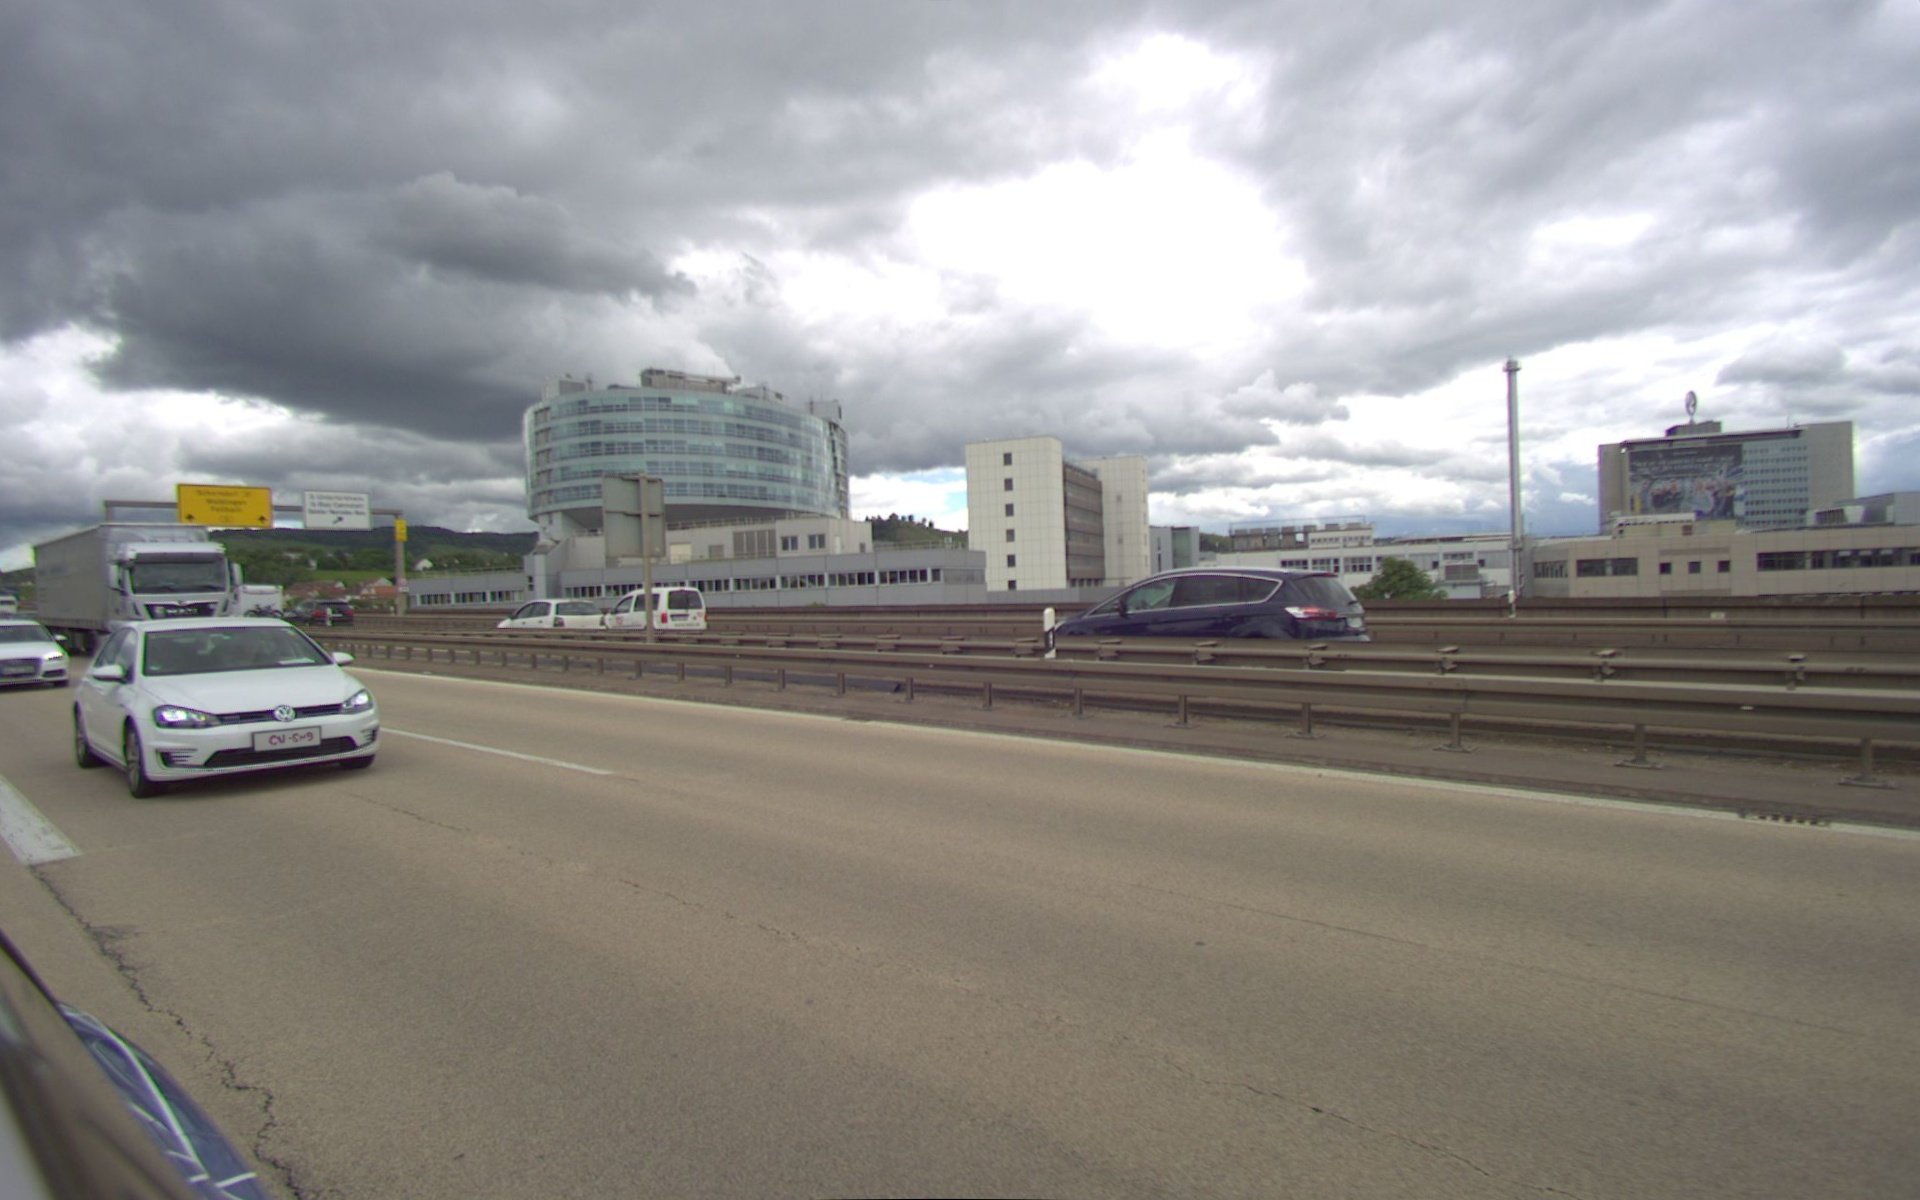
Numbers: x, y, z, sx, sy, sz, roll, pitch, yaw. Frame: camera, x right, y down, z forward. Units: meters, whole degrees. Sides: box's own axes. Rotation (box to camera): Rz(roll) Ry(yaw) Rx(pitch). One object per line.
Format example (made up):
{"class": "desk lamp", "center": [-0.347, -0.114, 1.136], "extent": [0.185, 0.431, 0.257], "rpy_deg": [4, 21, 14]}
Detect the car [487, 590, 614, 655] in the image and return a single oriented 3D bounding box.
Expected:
{"class": "car", "center": [-11.194, 0.584, 27.561], "extent": [3.774, 1.606, 1.665], "rpy_deg": [-1, 1, 41]}

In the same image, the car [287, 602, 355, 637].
{"class": "car", "center": [-32.105, 0.967, 50.830], "extent": [4.132, 1.602, 1.770], "rpy_deg": [-1, 1, 41]}

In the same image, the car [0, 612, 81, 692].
{"class": "car", "center": [-20.155, 1.058, 21.319], "extent": [4.059, 1.519, 1.906], "rpy_deg": [-1, 1, 41]}

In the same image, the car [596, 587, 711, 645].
{"class": "car", "center": [-9.589, 0.469, 31.547], "extent": [3.774, 1.662, 1.665], "rpy_deg": [-1, 1, 41]}

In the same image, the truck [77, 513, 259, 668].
{"class": "truck", "center": [-23.179, -0.271, 29.528], "extent": [5.686, 4.067, 3.102], "rpy_deg": [-1, 1, 42]}

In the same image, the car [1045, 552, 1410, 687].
{"class": "car", "center": [3.626, 0.223, 14.258], "extent": [4.606, 1.606, 1.906], "rpy_deg": [-1, 1, 41]}

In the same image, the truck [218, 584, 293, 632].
{"class": "truck", "center": [-43.741, 0.486, 62.774], "extent": [6.104, 2.851, 2.352], "rpy_deg": [-1, 1, 41]}

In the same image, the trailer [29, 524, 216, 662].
{"class": "trailer", "center": [-29.044, -0.193, 34.799], "extent": [11.762, 4.056, 3.148], "rpy_deg": [-1, 1, 42]}

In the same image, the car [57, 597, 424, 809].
{"class": "car", "center": [-6.888, 0.778, 9.527], "extent": [4.059, 1.519, 1.906], "rpy_deg": [-1, 1, 41]}
